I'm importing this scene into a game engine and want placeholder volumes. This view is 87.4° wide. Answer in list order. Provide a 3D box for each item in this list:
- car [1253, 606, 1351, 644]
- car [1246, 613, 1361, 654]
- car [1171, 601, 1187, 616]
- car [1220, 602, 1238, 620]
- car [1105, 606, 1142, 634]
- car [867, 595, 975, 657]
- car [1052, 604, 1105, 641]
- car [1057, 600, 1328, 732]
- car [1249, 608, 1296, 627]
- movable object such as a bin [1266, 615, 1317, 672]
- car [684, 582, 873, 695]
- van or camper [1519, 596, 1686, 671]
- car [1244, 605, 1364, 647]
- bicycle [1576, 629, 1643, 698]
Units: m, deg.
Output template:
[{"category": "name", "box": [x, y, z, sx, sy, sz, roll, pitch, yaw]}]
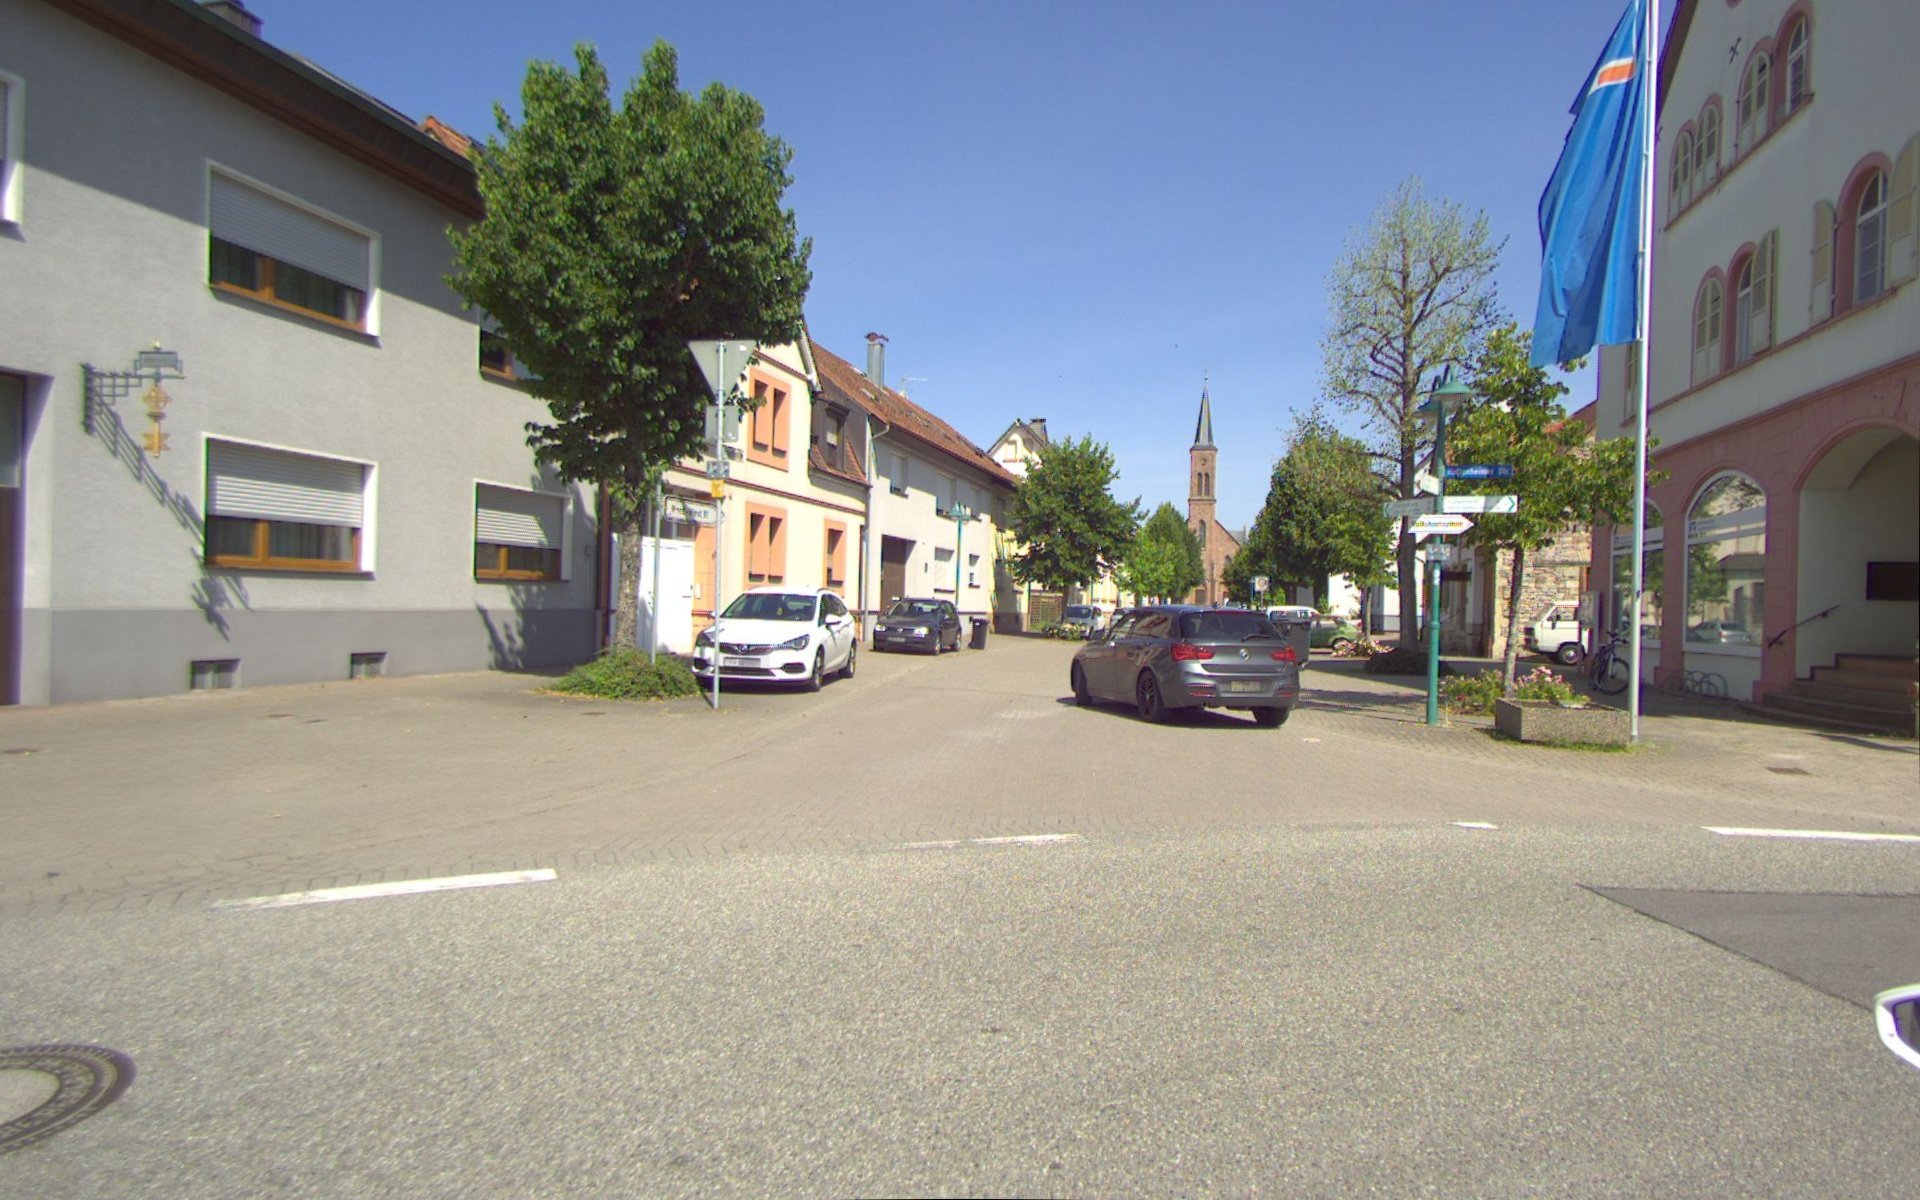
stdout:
[{"category": "car", "box": [15.529, 1.119, 45.846, 4.080, 1.589, 2.001, 1, 0, 16]}, {"category": "car", "box": [12.585, 1.206, 37.057, 3.857, 1.362, 2.001, 1, 0, 16]}, {"category": "car", "box": [27.446, 1.060, 126.016, 1.959, 1.840, 4.002, 1, 0, 12]}, {"category": "car", "box": [37.482, 1.518, 139.897, 2.207, 2.308, 4.505, 3, 0, 15]}, {"category": "car", "box": [9.350, 1.133, 57.630, 1.959, 1.483, 4.002, 2, 0, 9]}, {"category": "car", "box": [-0.939, 0.651, 27.672, 1.950, 1.460, 5.214, 2, 0, 9]}, {"category": "car", "box": [5.615, 1.033, 47.115, 1.960, 1.595, 4.002, 1, 0, 14]}, {"category": "car", "box": [2.806, 0.769, 13.196, 1.712, 1.394, 4.257, 3, -1, -13]}, {"category": "car", "box": [28.298, 1.577, 91.180, 3.919, 1.639, 2.001, 1, 0, 14]}, {"category": "movable object such as a bin", "box": [8.249, 1.057, 24.972, 1.168, 1.356, 0.789, 1, 0, 19]}, {"category": "car", "box": [-2.623, 0.516, 15.650, 1.818, 1.460, 4.515, 1, 0, 4]}, {"category": "van or camper", "box": [19.179, 0.951, 30.201, 3.924, 2.040, 1.999, 1, 0, 24]}, {"category": "car", "box": [14.719, 1.093, 43.249, 4.722, 1.645, 2.001, 1, 0, 16]}, {"category": "bicycle", "box": [11.936, 1.136, 18.506, 0.583, 1.151, 1.748, 1, 0, 18]}]
